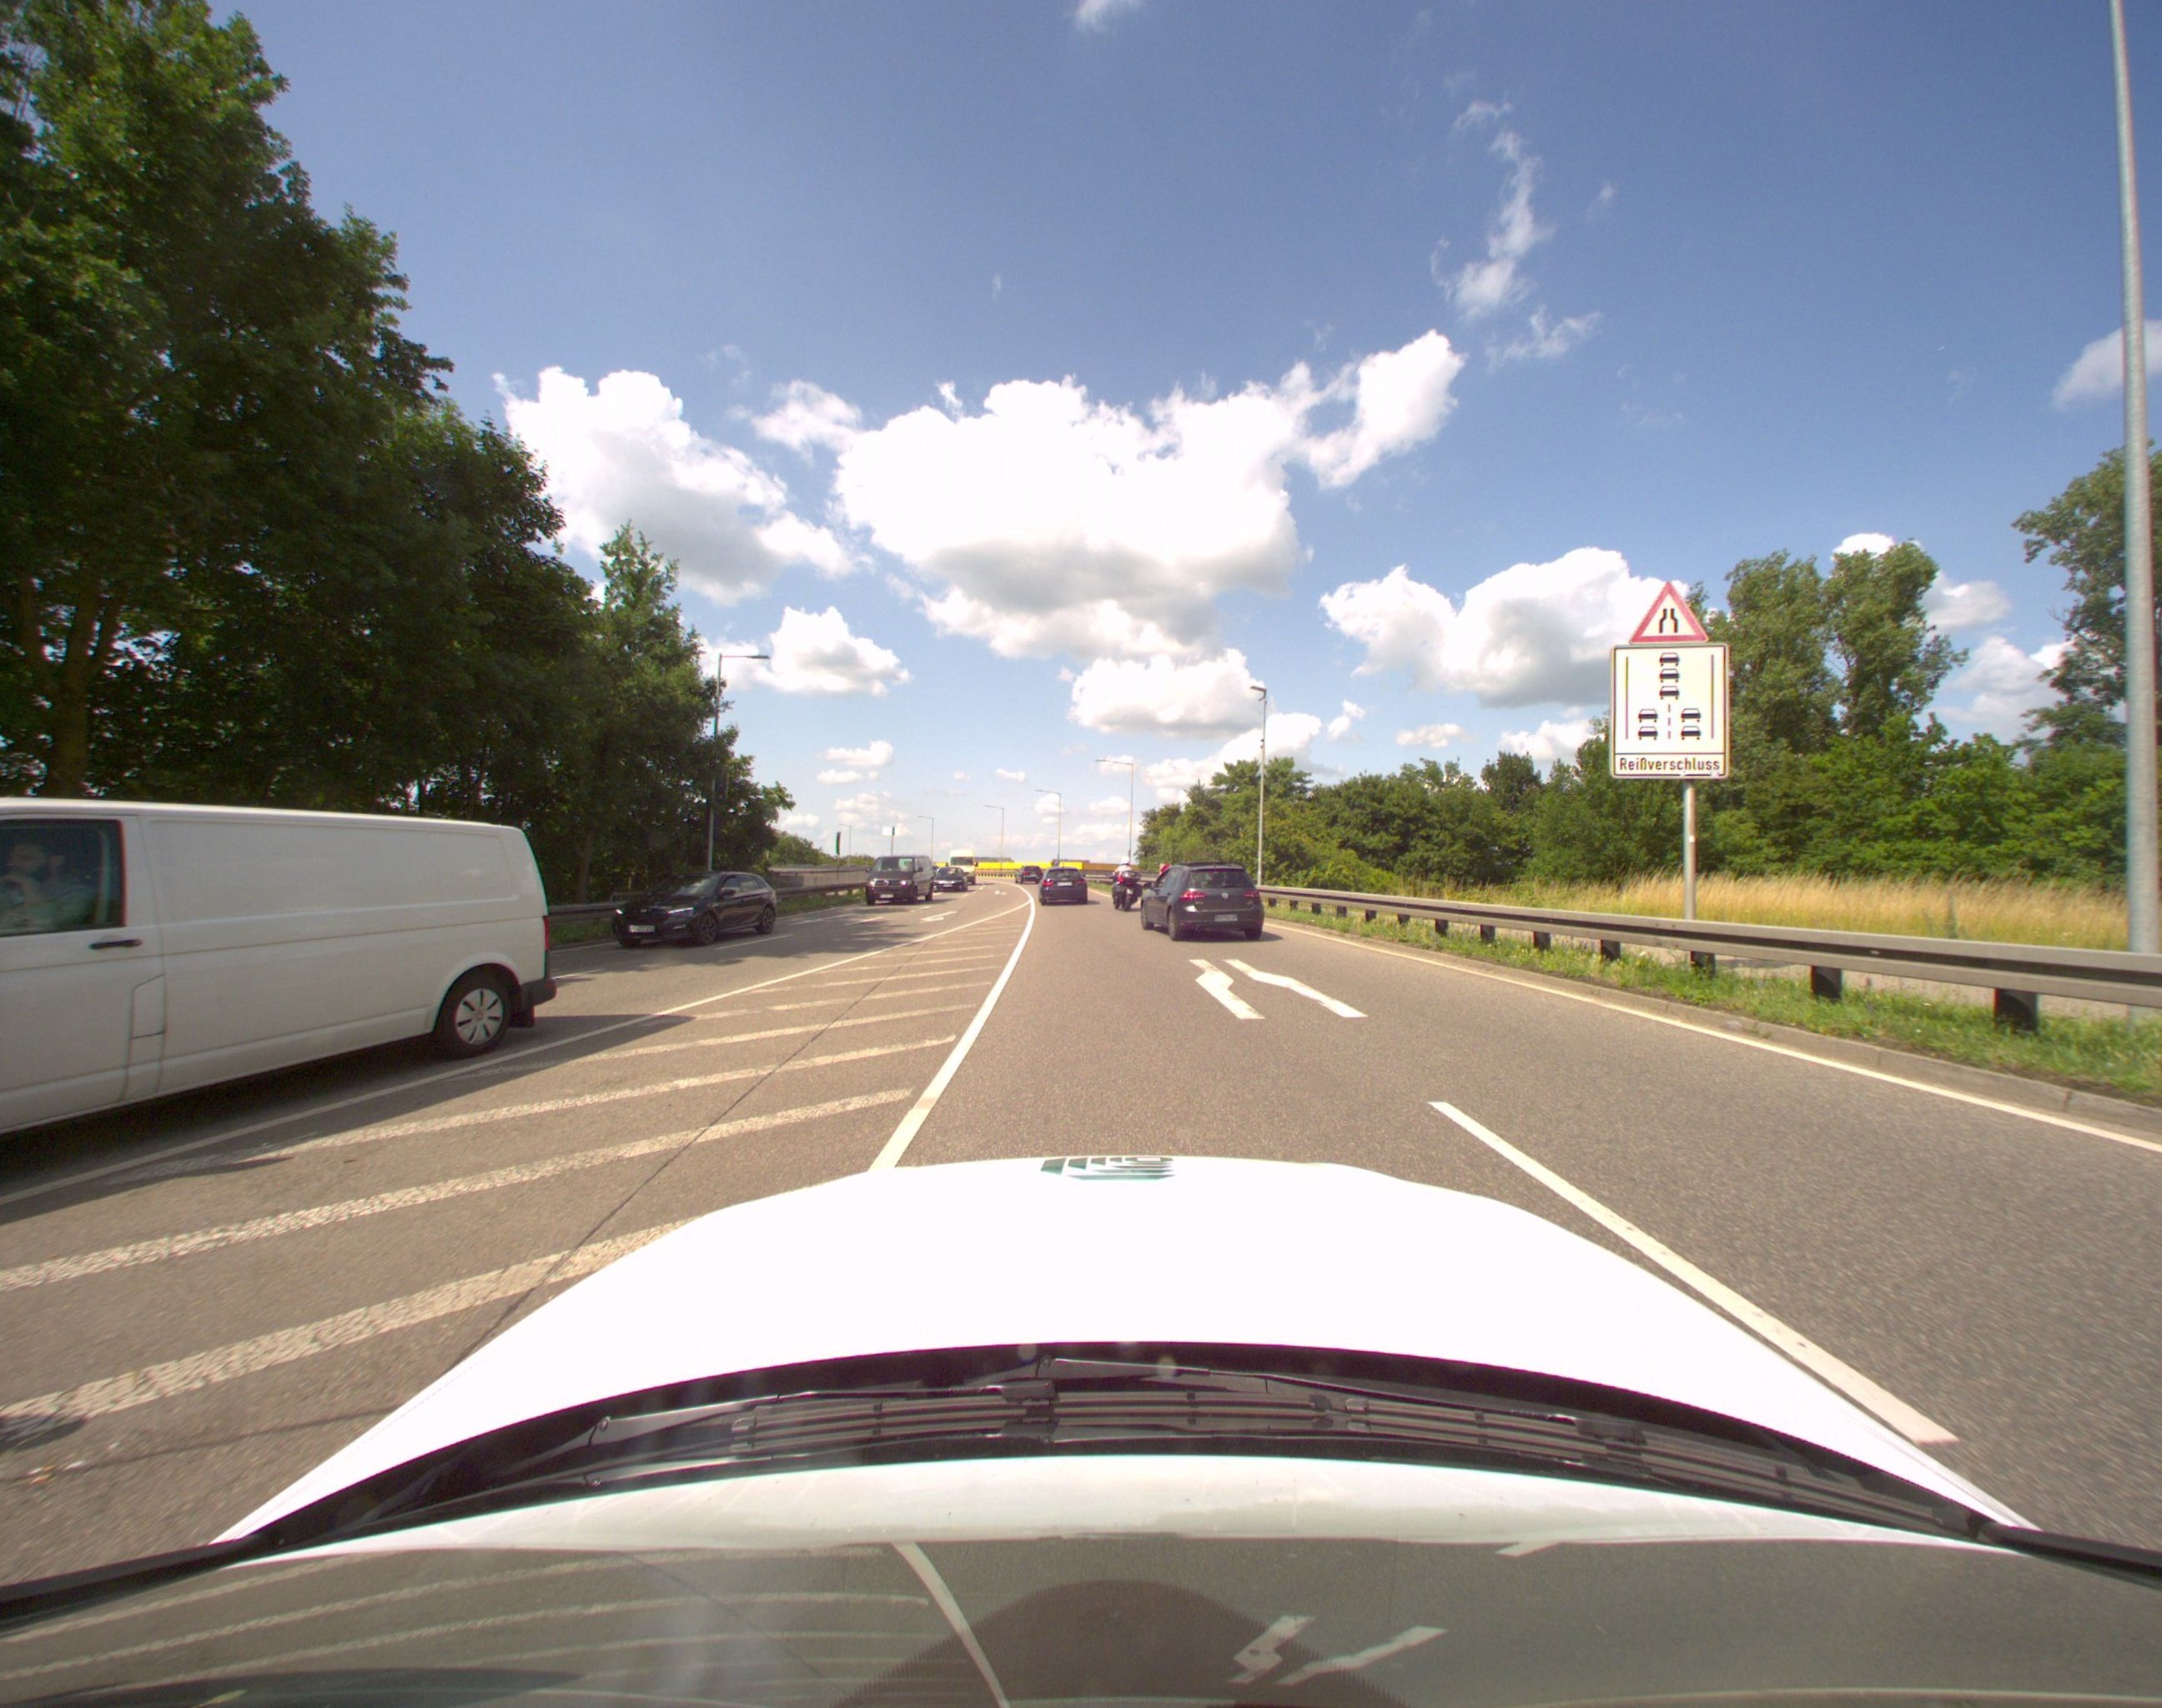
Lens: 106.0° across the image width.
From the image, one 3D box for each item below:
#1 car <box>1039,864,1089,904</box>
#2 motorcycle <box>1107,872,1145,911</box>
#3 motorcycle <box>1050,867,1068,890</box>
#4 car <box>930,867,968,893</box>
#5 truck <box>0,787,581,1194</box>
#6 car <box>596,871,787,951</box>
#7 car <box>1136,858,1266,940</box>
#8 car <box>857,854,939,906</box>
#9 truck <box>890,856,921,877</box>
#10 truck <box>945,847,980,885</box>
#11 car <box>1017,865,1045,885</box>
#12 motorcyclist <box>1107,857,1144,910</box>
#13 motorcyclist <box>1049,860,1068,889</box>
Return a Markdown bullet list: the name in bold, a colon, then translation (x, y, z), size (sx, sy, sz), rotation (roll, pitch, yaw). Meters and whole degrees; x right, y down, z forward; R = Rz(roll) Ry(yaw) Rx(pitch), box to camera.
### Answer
- **car**: translation (-0.704, 1.130, 30.717), size (1.679, 1.388, 3.732), rotation (-1, -2, -5)
- **motorcycle**: translation (1.389, 1.153, 25.406), size (0.788, 1.132, 2.393), rotation (0, -1, -7)
- **motorcycle**: translation (-1.233, 1.356, 45.091), size (0.886, 1.247, 2.395), rotation (0, -1, -4)
- **car**: translation (-7.521, 1.440, 46.694), size (1.795, 1.389, 4.001), rotation (-1, -1, -4)
- **truck**: translation (-5.939, 0.655, 5.027), size (1.950, 1.913, 5.379), rotation (0, -1, 6)
- **car**: translation (-8.036, 1.105, 17.327), size (1.627, 1.410, 4.344), rotation (-1, -1, 5)
- **car**: translation (2.321, 0.860, 16.721), size (1.641, 1.479, 3.861), rotation (0, -1, -8)
- **car**: translation (-7.293, 0.981, 33.054), size (1.986, 1.913, 5.134), rotation (-1, -1, 2)
- **truck**: translation (-21.637, 1.551, 100.227), size (2.006, 2.508, 5.890), rotation (0, -1, -30)
- **truck**: translation (-8.945, 0.865, 61.026), size (1.996, 2.621, 6.075), rotation (-2, 0, -13)
- **car**: translation (-3.886, 1.615, 62.675), size (1.644, 1.479, 3.855), rotation (0, -1, -12)
- **motorcyclist**: translation (1.380, 0.917, 25.575), size (0.965, 1.620, 1.122), rotation (1, -1, -7)
- **motorcyclist**: translation (-1.245, 1.135, 45.035), size (0.964, 1.596, 1.123), rotation (0, -1, -5)
